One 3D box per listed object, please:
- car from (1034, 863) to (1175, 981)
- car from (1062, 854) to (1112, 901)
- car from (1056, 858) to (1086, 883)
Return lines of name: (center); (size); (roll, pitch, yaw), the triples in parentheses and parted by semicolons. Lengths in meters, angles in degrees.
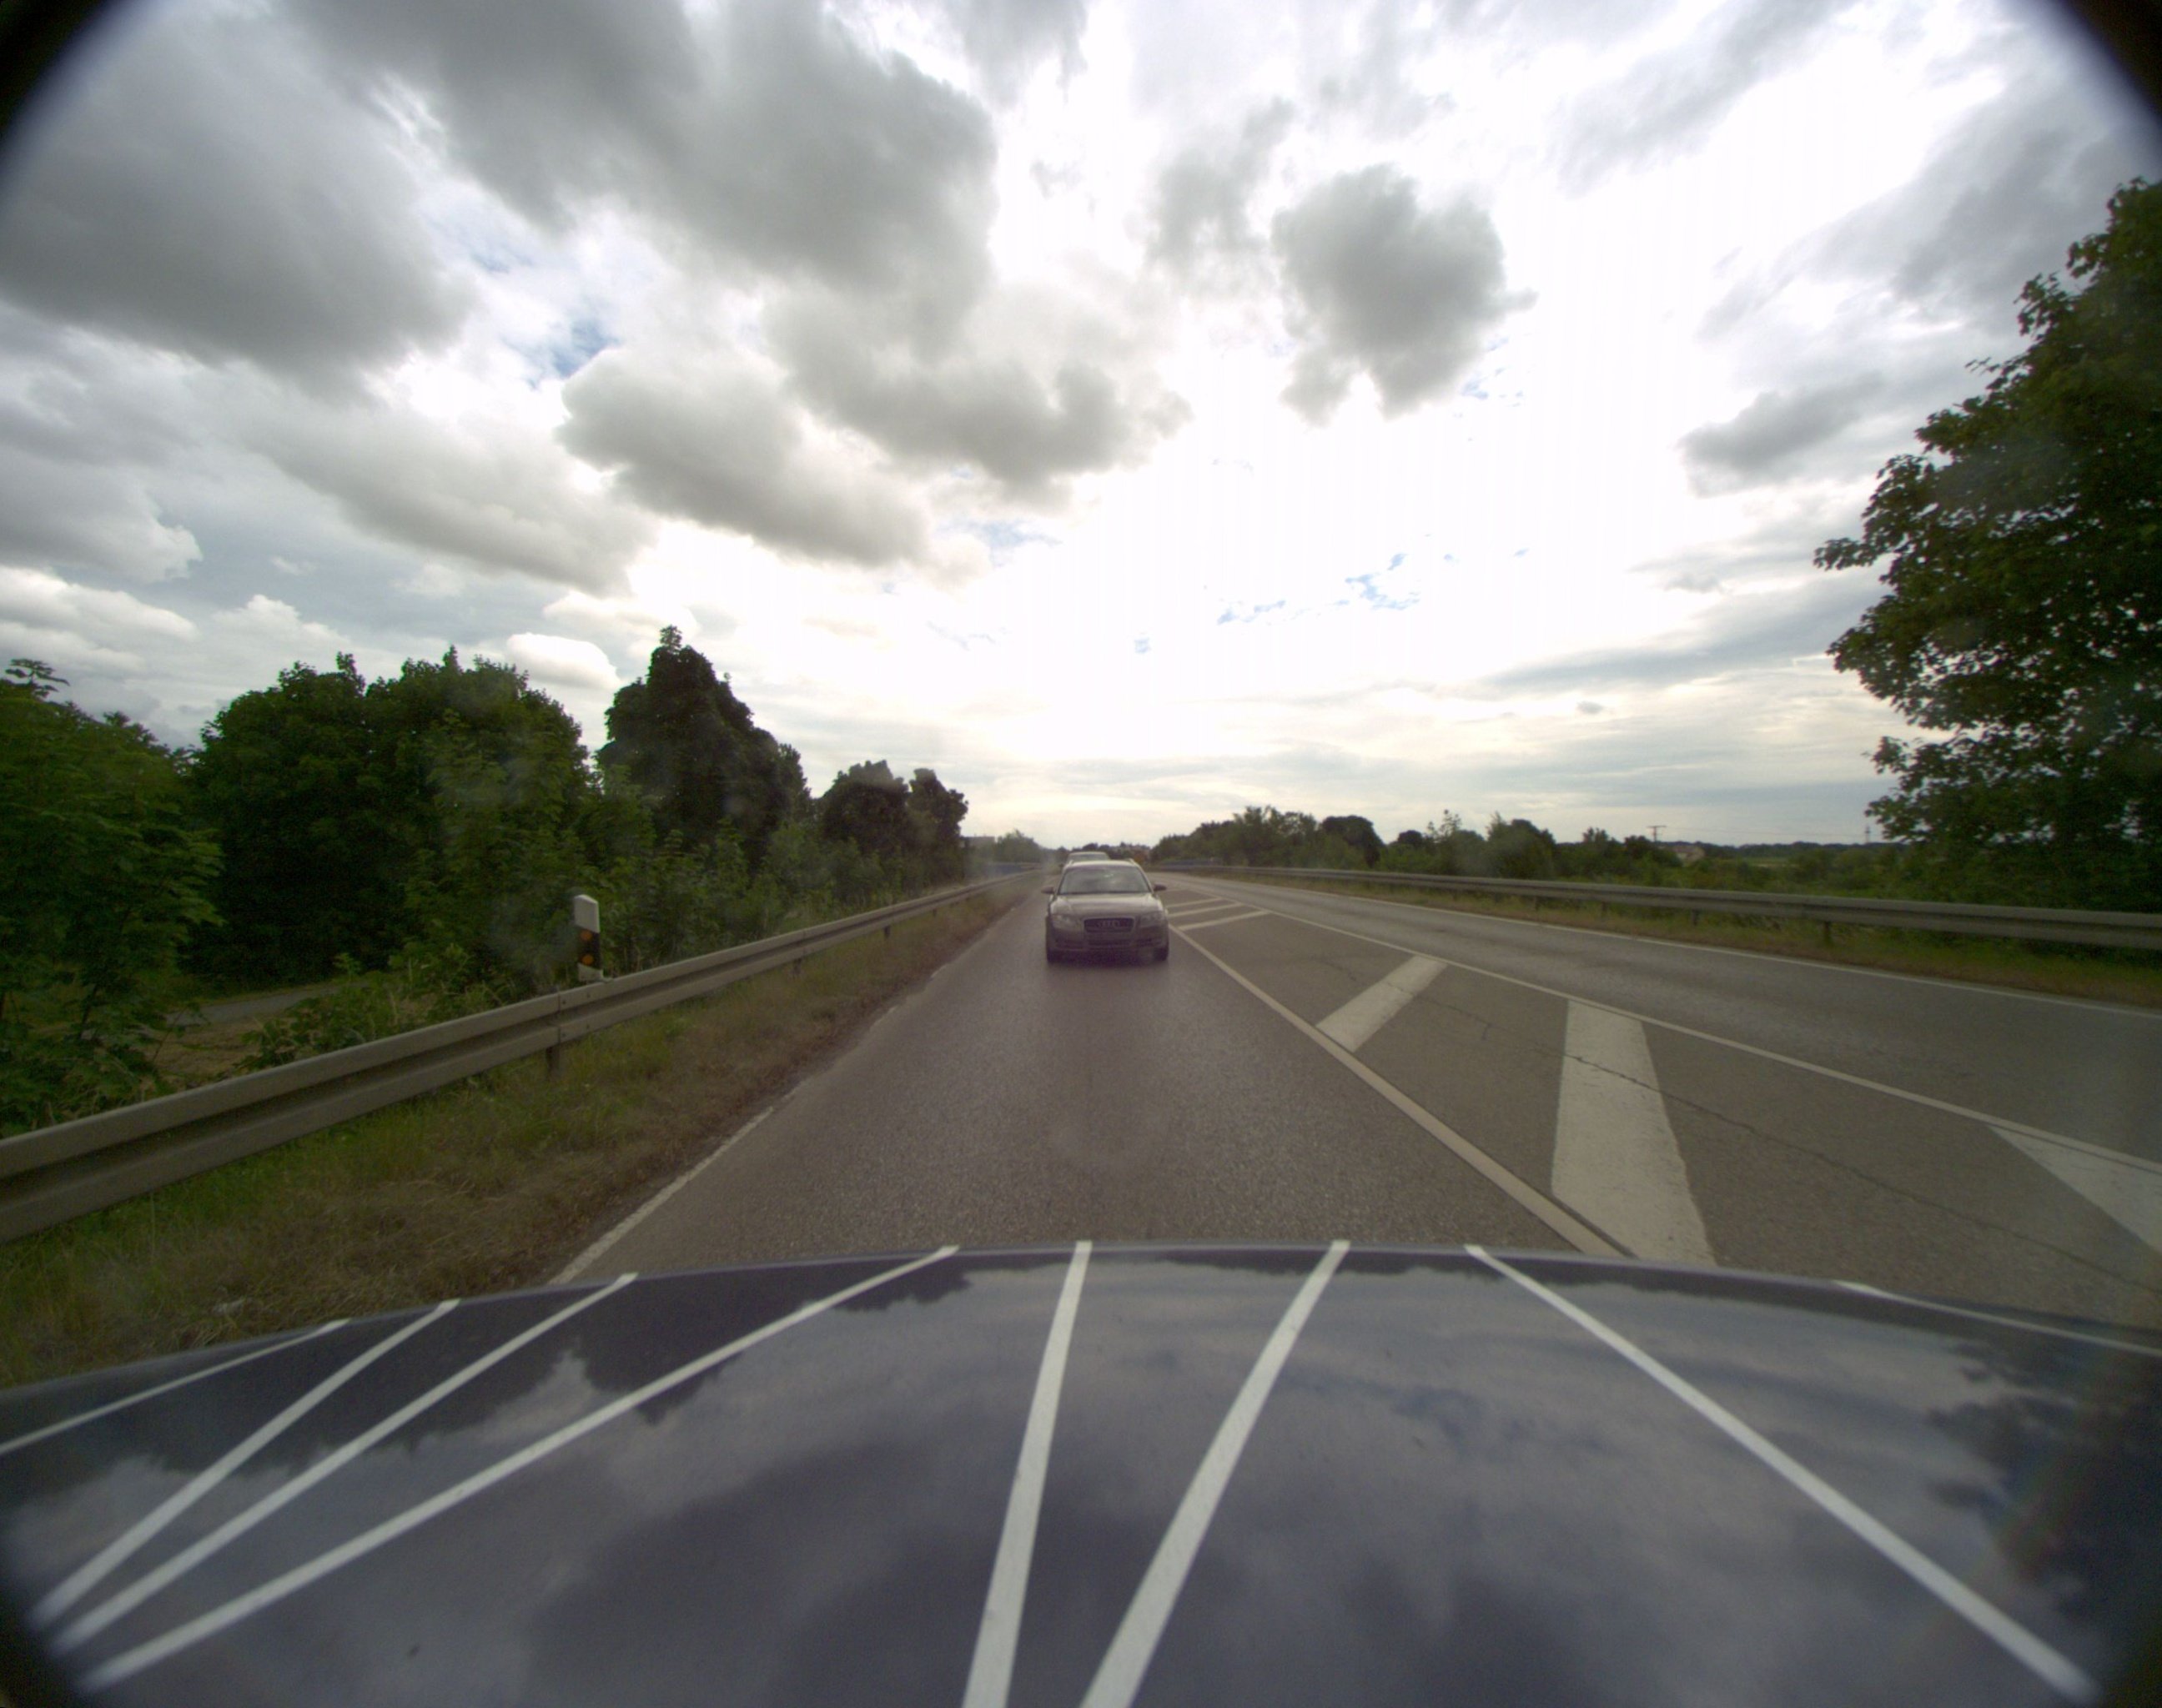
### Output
car: (0.280, 0.899, 11.727); (1.768, 1.383, 3.875); (-2, 1, -1)
car: (0.213, 0.766, 26.994); (1.603, 1.494, 3.962); (-2, 0, 0)
car: (-0.589, 0.936, 44.728); (1.670, 1.339, 3.999); (-2, 0, -1)
